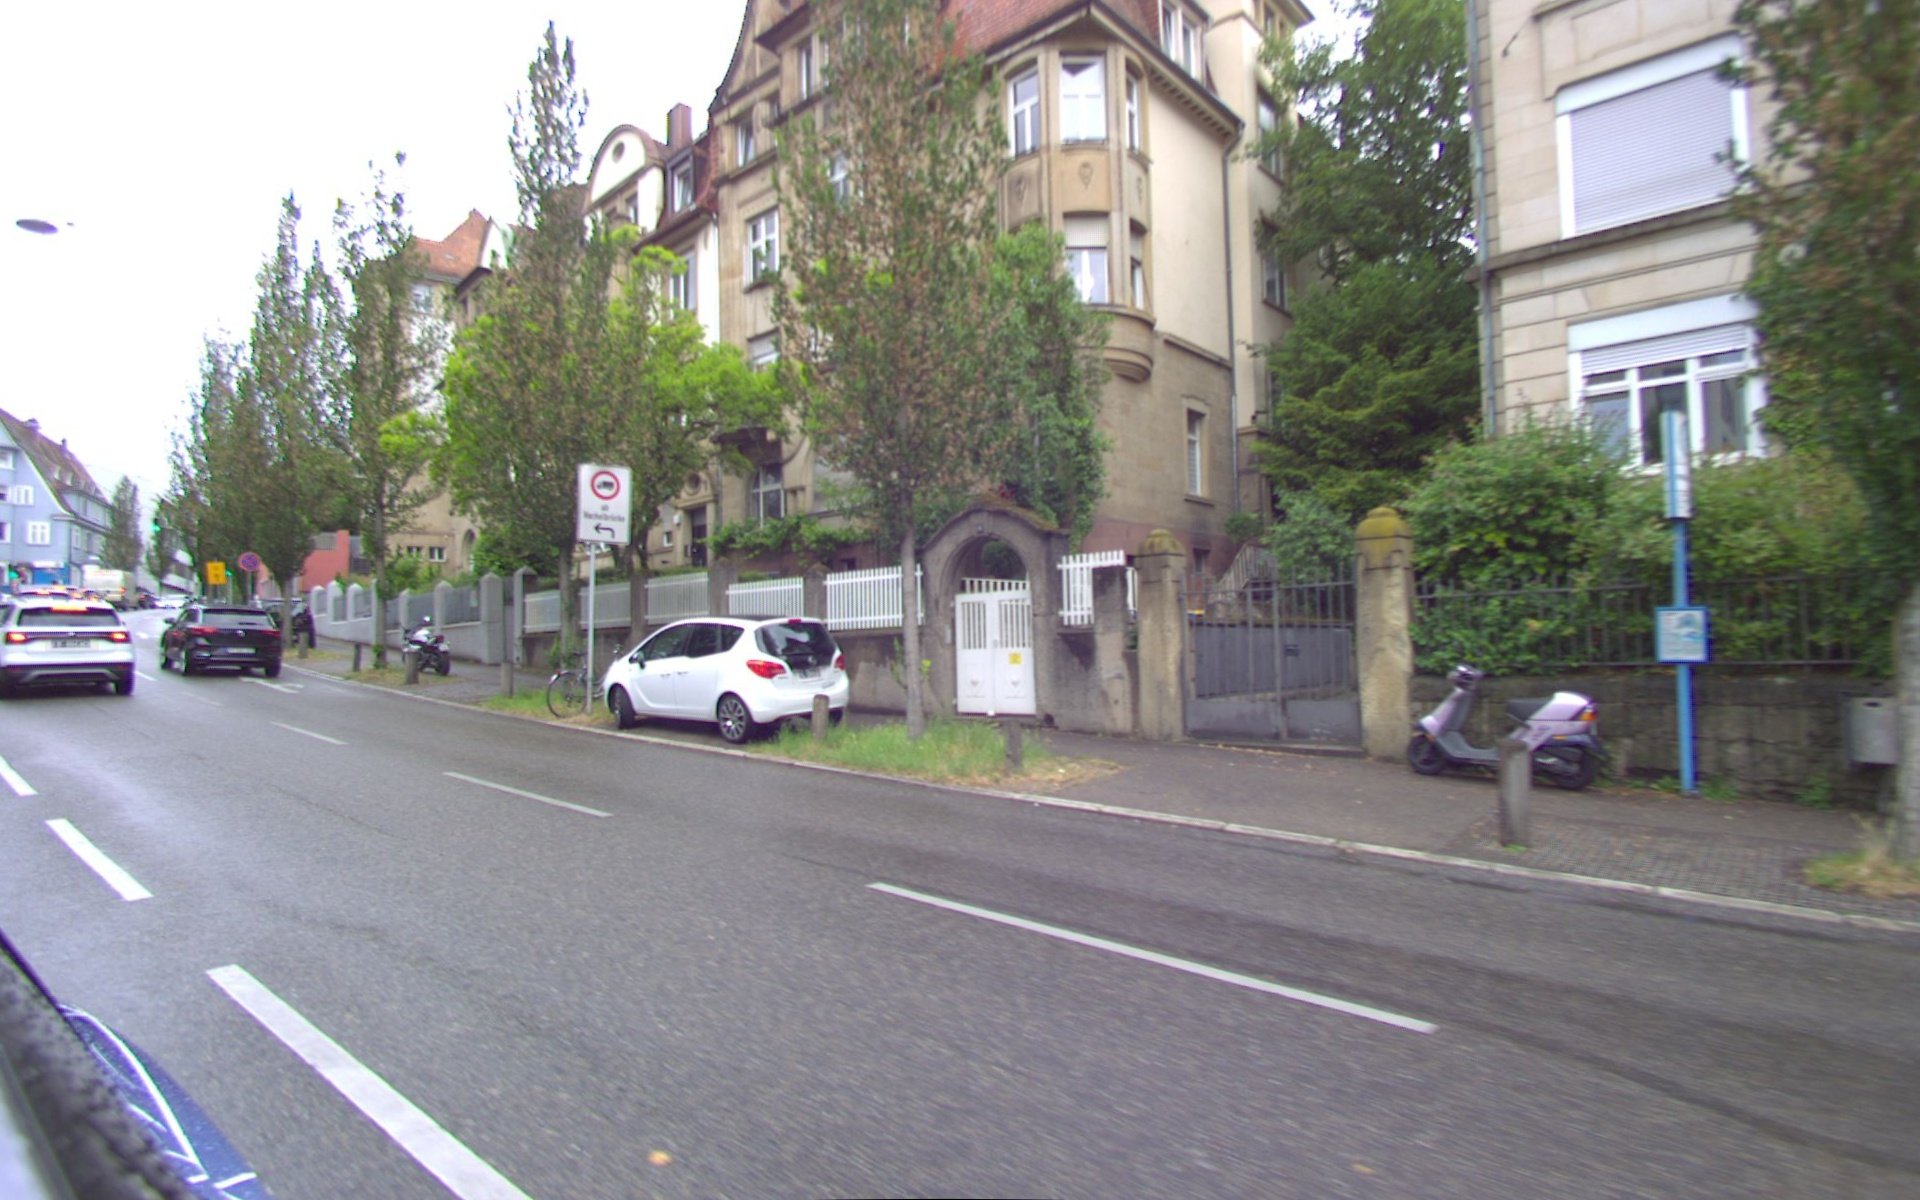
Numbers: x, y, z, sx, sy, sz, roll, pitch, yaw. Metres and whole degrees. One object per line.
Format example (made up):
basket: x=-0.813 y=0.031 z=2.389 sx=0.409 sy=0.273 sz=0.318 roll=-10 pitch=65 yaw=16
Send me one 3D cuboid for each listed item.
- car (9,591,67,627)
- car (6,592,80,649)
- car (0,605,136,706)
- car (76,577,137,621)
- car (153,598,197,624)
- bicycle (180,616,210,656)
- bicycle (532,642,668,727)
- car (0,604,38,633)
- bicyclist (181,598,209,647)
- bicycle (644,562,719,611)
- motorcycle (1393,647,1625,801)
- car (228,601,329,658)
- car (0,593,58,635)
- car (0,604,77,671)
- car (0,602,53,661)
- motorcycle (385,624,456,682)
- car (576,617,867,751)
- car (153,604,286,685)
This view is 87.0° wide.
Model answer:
car: x=-45.961 y=0.494 z=50.531 sx=1.597 sy=1.674 sz=4.123 roll=4 pitch=-4 yaw=-36
car: x=-30.119 y=0.661 z=33.220 sx=1.632 sy=1.721 sz=4.118 roll=4 pitch=-3 yaw=-43
car: x=-15.497 y=0.883 z=17.252 sx=4.100 sy=1.529 sz=1.752 roll=-1 pitch=-2 yaw=44
car: x=-52.802 y=0.003 z=62.746 sx=2.101 sy=2.525 sz=5.423 roll=3 pitch=-3 yaw=-33
car: x=-69.228 y=1.008 z=89.349 sx=2.100 sy=2.042 sz=5.425 roll=3 pitch=-3 yaw=-29
bicycle: x=-24.796 y=1.146 z=32.795 sx=0.647 sy=1.245 sz=1.985 roll=2 pitch=-2 yaw=-40
bicycle: x=-5.680 y=1.306 z=16.057 sx=0.657 sy=1.245 sz=1.955 roll=-1 pitch=-2 yaw=40
car: x=-57.155 y=1.119 z=60.721 sx=1.894 sy=1.663 sz=4.147 roll=-1 pitch=0 yaw=-31
bicyclist: x=-24.805 y=0.727 z=32.819 sx=0.647 sy=1.568 sz=0.992 roll=2 pitch=-2 yaw=-40
bicycle: x=-7.633 y=-0.351 z=27.810 sx=0.657 sy=1.245 sz=1.955 roll=-1 pitch=-2 yaw=40
motorcycle: x=4.999 y=1.074 z=9.300 sx=1.763 sy=1.246 sz=0.648 roll=-1 pitch=-2 yaw=44
car: x=-21.627 y=0.894 z=32.062 sx=1.973 sy=1.607 sz=3.830 roll=-3 pitch=2 yaw=-44
car: x=-36.989 y=0.598 z=40.193 sx=1.599 sy=1.535 sz=4.118 roll=4 pitch=-4 yaw=-43
car: x=-21.656 y=0.815 z=23.350 sx=1.742 sy=1.442 sz=3.888 roll=1 pitch=-1 yaw=-44
car: x=-26.044 y=0.854 z=27.681 sx=1.691 sy=1.491 sz=4.118 roll=4 pitch=-4 yaw=-43
motorcycle: x=-12.225 y=1.183 z=22.906 sx=1.979 sy=1.245 sz=0.649 roll=-1 pitch=-2 yaw=38
car: x=-3.456 y=1.054 z=14.246 sx=4.297 sy=1.571 sz=1.724 roll=-1 pitch=0 yaw=39
car: x=-16.632 y=0.975 z=22.678 sx=3.871 sy=1.529 sz=1.724 roll=2 pitch=-2 yaw=45
